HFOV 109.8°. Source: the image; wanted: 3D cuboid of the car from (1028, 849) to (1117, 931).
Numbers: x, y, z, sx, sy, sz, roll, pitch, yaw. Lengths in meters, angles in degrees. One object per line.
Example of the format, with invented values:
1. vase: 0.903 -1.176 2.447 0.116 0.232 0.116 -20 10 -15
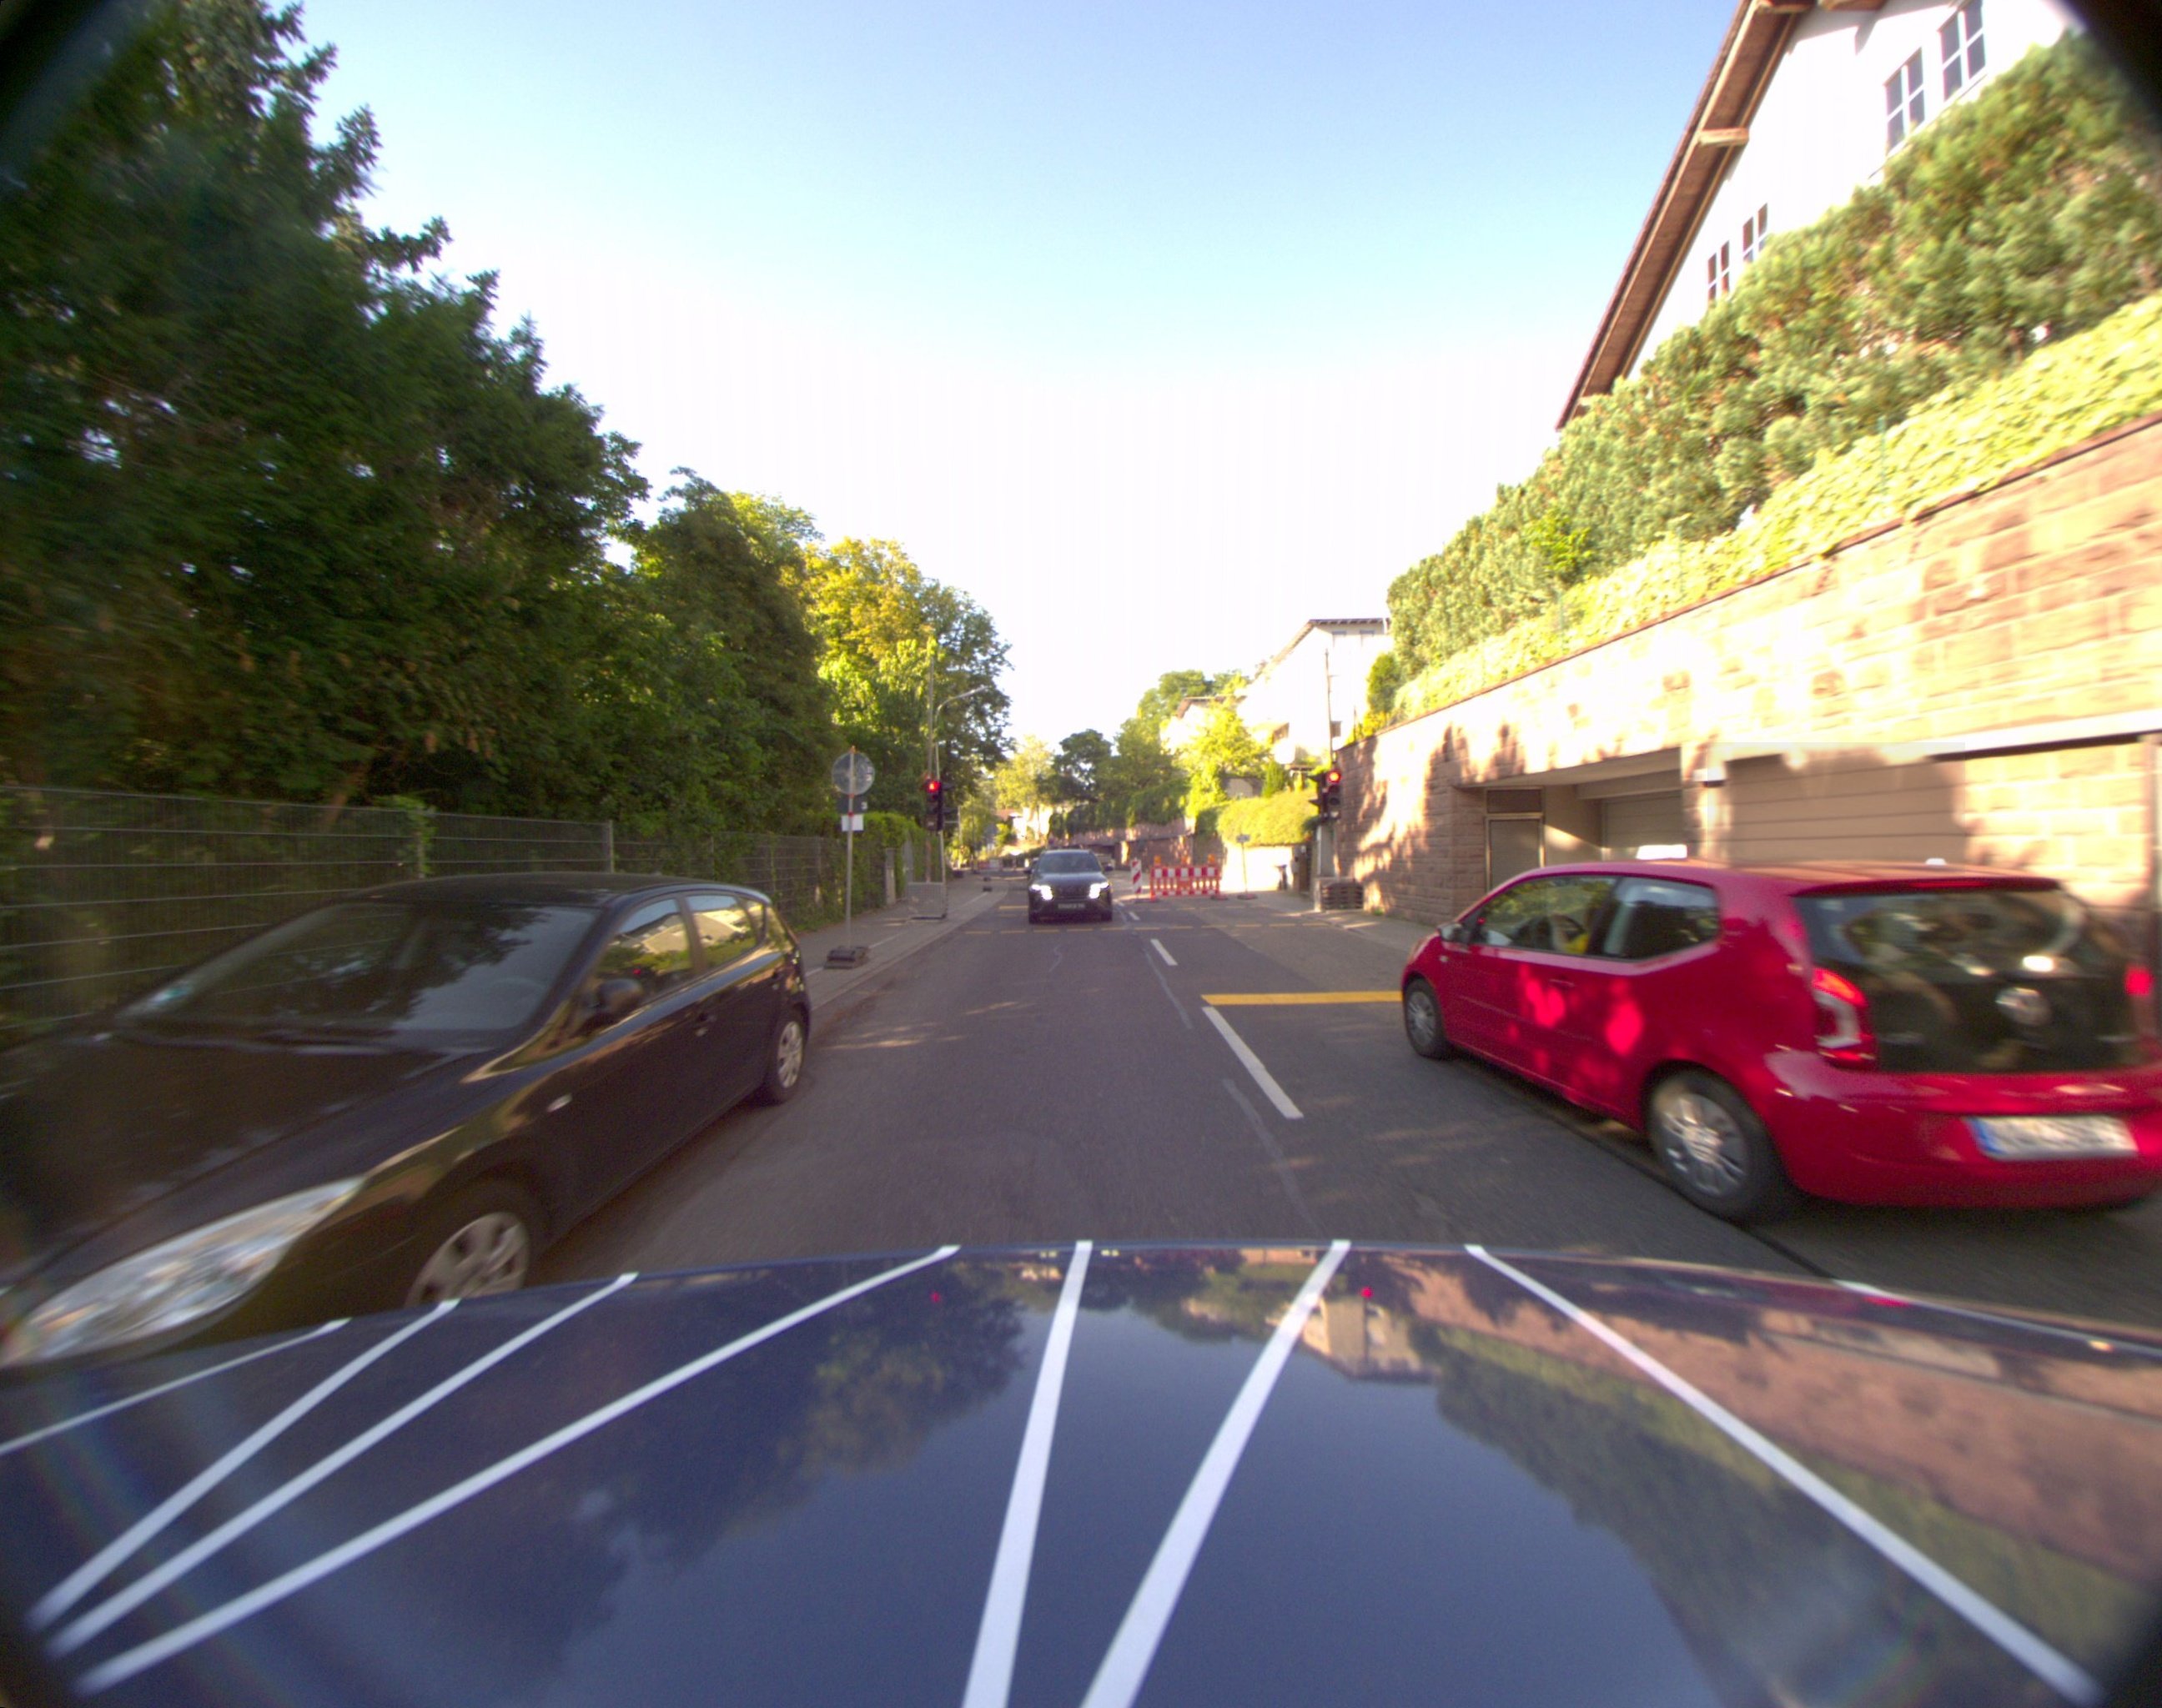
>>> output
1. car: -0.262 0.758 18.279 1.788 1.639 4.473 -3 0 -2

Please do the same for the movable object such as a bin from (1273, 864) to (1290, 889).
1. movable object such as a bin: 6.924 0.768 26.229 0.455 0.829 0.392 -2 1 -2

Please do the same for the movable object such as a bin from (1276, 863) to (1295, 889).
1. movable object such as a bin: 6.929 0.741 25.745 0.457 0.879 0.500 -3 1 -1

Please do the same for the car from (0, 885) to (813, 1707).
1. car: -2.739 0.950 3.179 1.799 1.432 3.999 -1 0 0

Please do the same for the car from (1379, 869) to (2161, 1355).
1. car: 3.203 0.851 4.200 1.631 1.413 3.562 -1 1 -2

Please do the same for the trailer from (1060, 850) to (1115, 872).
1. trailer: 0.383 0.486 57.491 2.649 1.481 7.111 -3 1 -11

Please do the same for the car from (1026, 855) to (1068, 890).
1. car: -1.651 0.826 35.979 1.663 1.468 3.680 -3 1 -6
